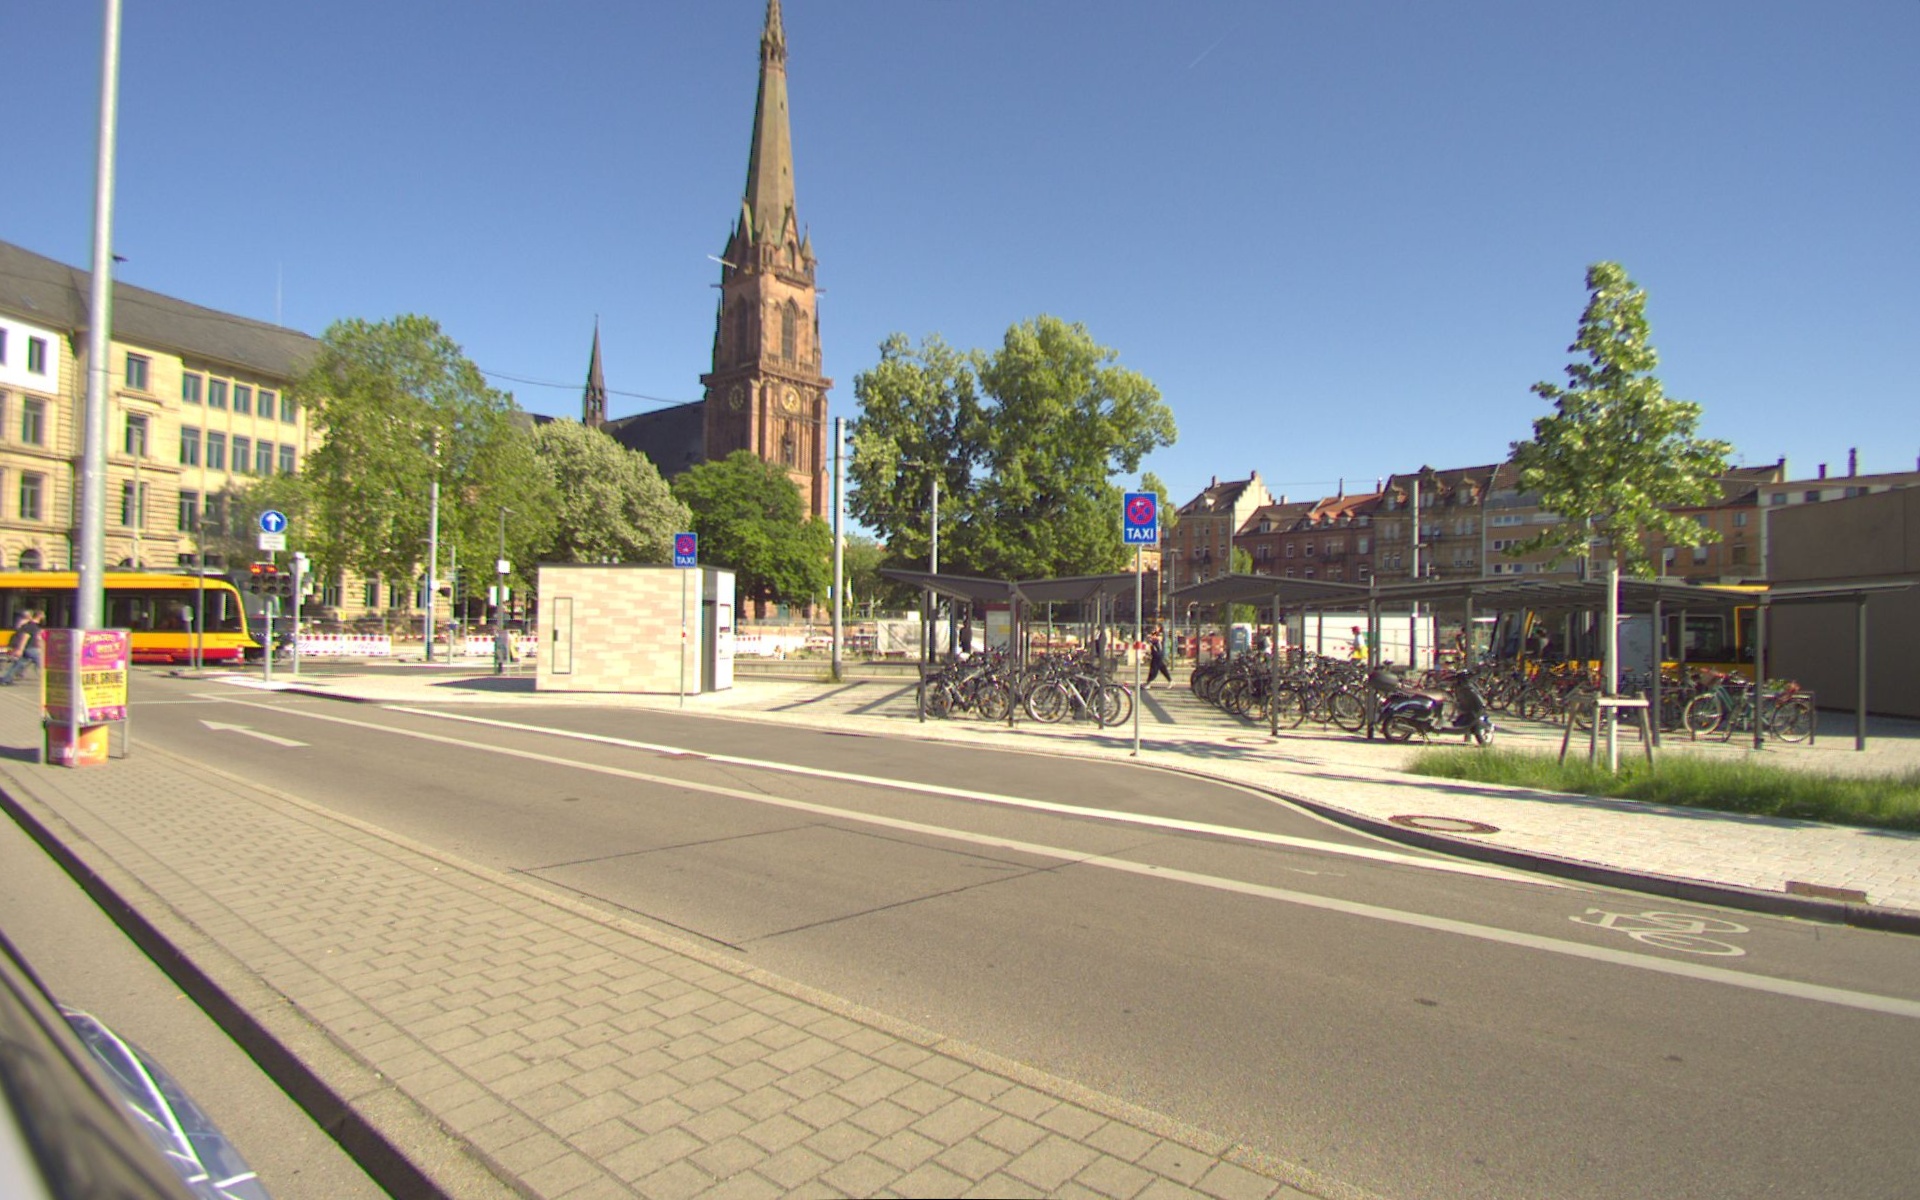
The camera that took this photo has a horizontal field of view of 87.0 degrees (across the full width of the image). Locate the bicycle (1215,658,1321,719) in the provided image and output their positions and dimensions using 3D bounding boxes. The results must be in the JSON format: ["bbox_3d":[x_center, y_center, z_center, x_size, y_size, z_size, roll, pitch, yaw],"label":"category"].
[{"bbox_3d":[5.884,1.683,19.413,1.859,1.101,0.626,0,-2,8],"label":"bicycle"}]

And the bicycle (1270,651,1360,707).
[{"bbox_3d":[7.937,1.768,22.681,1.808,1.198,0.647,0,-2,7],"label":"bicycle"}]

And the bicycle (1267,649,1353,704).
[{"bbox_3d":[8.244,1.785,23.879,1.808,1.242,0.627,0,-2,7],"label":"bicycle"}]

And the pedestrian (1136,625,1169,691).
[{"bbox_3d":[4.994,1.497,26.260,0.762,1.672,0.604,0,-2,4],"label":"pedestrian"}]

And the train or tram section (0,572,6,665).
[{"bbox_3d":[-43.744,0.643,39.019,12.174,3.628,2.796,0,-2,6],"label":"train or tram section"}]

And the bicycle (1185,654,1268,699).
[{"bbox_3d":[6.259,1.786,23.801,1.808,1.015,0.627,0,-2,6],"label":"bicycle"}]

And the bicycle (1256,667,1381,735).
[{"bbox_3d":[5.985,1.677,16.982,1.871,1.050,0.688,0,-2,9],"label":"bicycle"}]

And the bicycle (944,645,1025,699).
[{"bbox_3d":[0.570,1.647,23.418,1.809,1.188,0.627,0,-2,9],"label":"bicycle"}]

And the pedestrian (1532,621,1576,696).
[{"bbox_3d":[15.113,1.473,25.752,0.700,1.869,0.751,2,-2,-38],"label":"pedestrian"}]

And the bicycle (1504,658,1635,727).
[{"bbox_3d":[11.305,1.704,18.803,2.029,1.218,0.505,0,-2,8],"label":"bicycle"}]

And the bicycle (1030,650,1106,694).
[{"bbox_3d":[2.641,1.759,24.812,1.808,1.015,0.627,0,-2,7],"label":"bicycle"}]

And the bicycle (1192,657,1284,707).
[{"bbox_3d":[5.977,1.757,21.809,1.805,1.015,0.629,0,-2,0],"label":"bicycle"}]

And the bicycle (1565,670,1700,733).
[{"bbox_3d":[11.611,1.742,17.528,1.872,1.004,0.499,0,-2,13],"label":"bicycle"}]

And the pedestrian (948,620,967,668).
[{"bbox_3d":[-0.090,1.701,39.303,0.673,1.869,0.604,0,-2,6],"label":"pedestrian"}]

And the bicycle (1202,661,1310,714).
[{"bbox_3d":[5.957,1.761,20.434,1.978,1.015,0.628,0,-2,4],"label":"bicycle"}]

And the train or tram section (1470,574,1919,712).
[{"bbox_3d":[21.399,1.154,28.618,12.179,3.628,2.748,0,-2,7],"label":"train or tram section"}]

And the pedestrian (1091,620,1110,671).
[{"bbox_3d":[5.146,1.655,37.035,0.673,1.869,0.604,0,-2,6],"label":"pedestrian"}]

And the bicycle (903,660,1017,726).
[{"bbox_3d":[0.013,1.584,17.373,1.847,1.015,0.699,2,-2,9],"label":"bicycle"}]

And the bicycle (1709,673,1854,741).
[{"bbox_3d":[13.027,1.696,16.079,1.803,1.015,0.629,1,-2,-3],"label":"bicycle"}]

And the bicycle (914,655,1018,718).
[{"bbox_3d":[0.124,1.539,18.240,1.809,1.074,0.627,0,-2,9],"label":"bicycle"}]

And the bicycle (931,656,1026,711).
[{"bbox_3d":[0.368,1.636,19.988,1.809,1.015,0.627,0,-2,9],"label":"bicycle"}]

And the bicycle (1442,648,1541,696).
[{"bbox_3d":[11.695,1.577,22.309,1.809,1.015,0.627,0,-2,9],"label":"bicycle"}]

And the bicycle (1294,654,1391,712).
[{"bbox_3d":[8.119,1.746,21.531,1.808,1.170,0.627,0,-2,7],"label":"bicycle"}]

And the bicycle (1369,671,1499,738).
[{"bbox_3d":[7.775,1.705,16.653,1.808,1.015,0.627,0,-2,7],"label":"bicycle"}]

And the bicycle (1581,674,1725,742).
[{"bbox_3d":[11.166,1.723,16.351,1.809,1.015,0.627,0,-2,9],"label":"bicycle"}]

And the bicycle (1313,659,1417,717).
[{"bbox_3d":[8.082,1.747,20.265,1.808,1.088,0.627,0,-2,7],"label":"bicycle"}]

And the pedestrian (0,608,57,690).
[{"bbox_3d":[-21.842,1.145,23.651,0.946,1.864,0.733,4,-4,-38],"label":"pedestrian"}]

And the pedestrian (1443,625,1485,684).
[{"bbox_3d":[17.674,1.902,35.511,0.997,2.029,0.872,0,-2,0],"label":"pedestrian"}]

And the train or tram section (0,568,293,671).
[{"bbox_3d":[-31.587,0.695,37.733,12.174,3.628,2.828,0,-2,6],"label":"train or tram section"}]

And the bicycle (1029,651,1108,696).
[{"bbox_3d":[2.518,1.703,23.613,1.808,1.015,0.627,0,-2,7],"label":"bicycle"}]

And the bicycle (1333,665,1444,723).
[{"bbox_3d":[8.008,1.749,18.973,1.808,1.015,0.627,0,-2,7],"label":"bicycle"}]

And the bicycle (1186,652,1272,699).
[{"bbox_3d":[6.129,1.721,23.114,1.807,1.015,0.628,0,-2,5],"label":"bicycle"}]

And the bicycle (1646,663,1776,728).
[{"bbox_3d":[13.598,1.717,18.362,1.808,1.101,0.627,0,-2,7],"label":"bicycle"}]

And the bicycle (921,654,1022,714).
[{"bbox_3d":[0.220,1.544,18.769,1.809,1.059,0.571,0,-2,9],"label":"bicycle"}]

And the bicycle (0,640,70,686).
[{"bbox_3d":[-23.620,1.586,25.444,1.855,1.078,0.726,0,-1,-41],"label":"bicycle"}]

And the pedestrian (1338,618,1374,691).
[{"bbox_3d":[10.420,1.424,26.641,0.595,1.869,0.683,2,-2,-38],"label":"pedestrian"}]

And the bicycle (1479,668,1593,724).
[{"bbox_3d":[11.269,1.873,19.843,1.809,1.015,0.627,0,-2,9],"label":"bicycle"}]

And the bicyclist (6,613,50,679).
[{"bbox_3d":[-23.517,1.139,25.541,0.766,1.618,0.723,1,-1,-41],"label":"bicyclist"}]

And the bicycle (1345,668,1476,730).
[{"bbox_3d":[7.927,1.731,17.879,2.003,1.015,0.627,0,-2,7],"label":"bicycle"}]

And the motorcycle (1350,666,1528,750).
[{"bbox_3d":[7.175,1.605,15.236,2.333,1.167,0.610,0,-2,7],"label":"motorcycle"}]

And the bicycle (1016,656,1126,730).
[{"bbox_3d":[1.872,1.557,17.137,1.808,1.167,0.627,1,-2,7],"label":"bicycle"}]

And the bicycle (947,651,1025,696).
[{"bbox_3d":[0.628,1.751,24.118,1.809,1.015,0.627,0,-2,9],"label":"bicycle"}]

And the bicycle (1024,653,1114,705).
[{"bbox_3d":[2.237,1.610,20.852,1.808,1.015,0.627,0,-2,7],"label":"bicycle"}]

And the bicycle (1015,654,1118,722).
[{"bbox_3d":[1.917,1.578,18.279,1.808,1.157,0.627,0,-2,7],"label":"bicycle"}]

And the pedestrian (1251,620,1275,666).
[{"bbox_3d":[13.551,1.937,45.287,0.861,2.029,0.749,0,-2,5],"label":"pedestrian"}]

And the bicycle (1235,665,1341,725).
[{"bbox_3d":[5.861,1.686,18.135,1.731,1.015,0.547,0,-2,10],"label":"bicycle"}]

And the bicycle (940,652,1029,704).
[{"bbox_3d":[0.521,1.616,21.143,1.809,1.015,0.627,0,-2,9],"label":"bicycle"}]

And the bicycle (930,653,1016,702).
[{"bbox_3d":[0.297,1.691,22.175,1.809,1.015,0.627,0,-2,9],"label":"bicycle"}]

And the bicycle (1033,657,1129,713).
[{"bbox_3d":[2.328,1.636,19.544,1.808,1.015,0.745,0,-2,7],"label":"bicycle"}]

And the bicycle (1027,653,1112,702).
[{"bbox_3d":[2.385,1.688,22.127,1.808,1.015,0.627,0,-2,7],"label":"bicycle"}]

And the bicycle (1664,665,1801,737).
[{"bbox_3d":[12.999,1.688,17.066,1.805,1.155,0.629,0,-2,0],"label":"bicycle"}]

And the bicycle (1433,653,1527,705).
[{"bbox_3d":[12.009,1.815,23.405,1.809,1.140,0.627,0,-2,9],"label":"bicycle"}]

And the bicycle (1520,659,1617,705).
[{"bbox_3d":[14.061,1.881,23.408,1.808,1.015,0.627,0,-2,7],"label":"bicycle"}]
